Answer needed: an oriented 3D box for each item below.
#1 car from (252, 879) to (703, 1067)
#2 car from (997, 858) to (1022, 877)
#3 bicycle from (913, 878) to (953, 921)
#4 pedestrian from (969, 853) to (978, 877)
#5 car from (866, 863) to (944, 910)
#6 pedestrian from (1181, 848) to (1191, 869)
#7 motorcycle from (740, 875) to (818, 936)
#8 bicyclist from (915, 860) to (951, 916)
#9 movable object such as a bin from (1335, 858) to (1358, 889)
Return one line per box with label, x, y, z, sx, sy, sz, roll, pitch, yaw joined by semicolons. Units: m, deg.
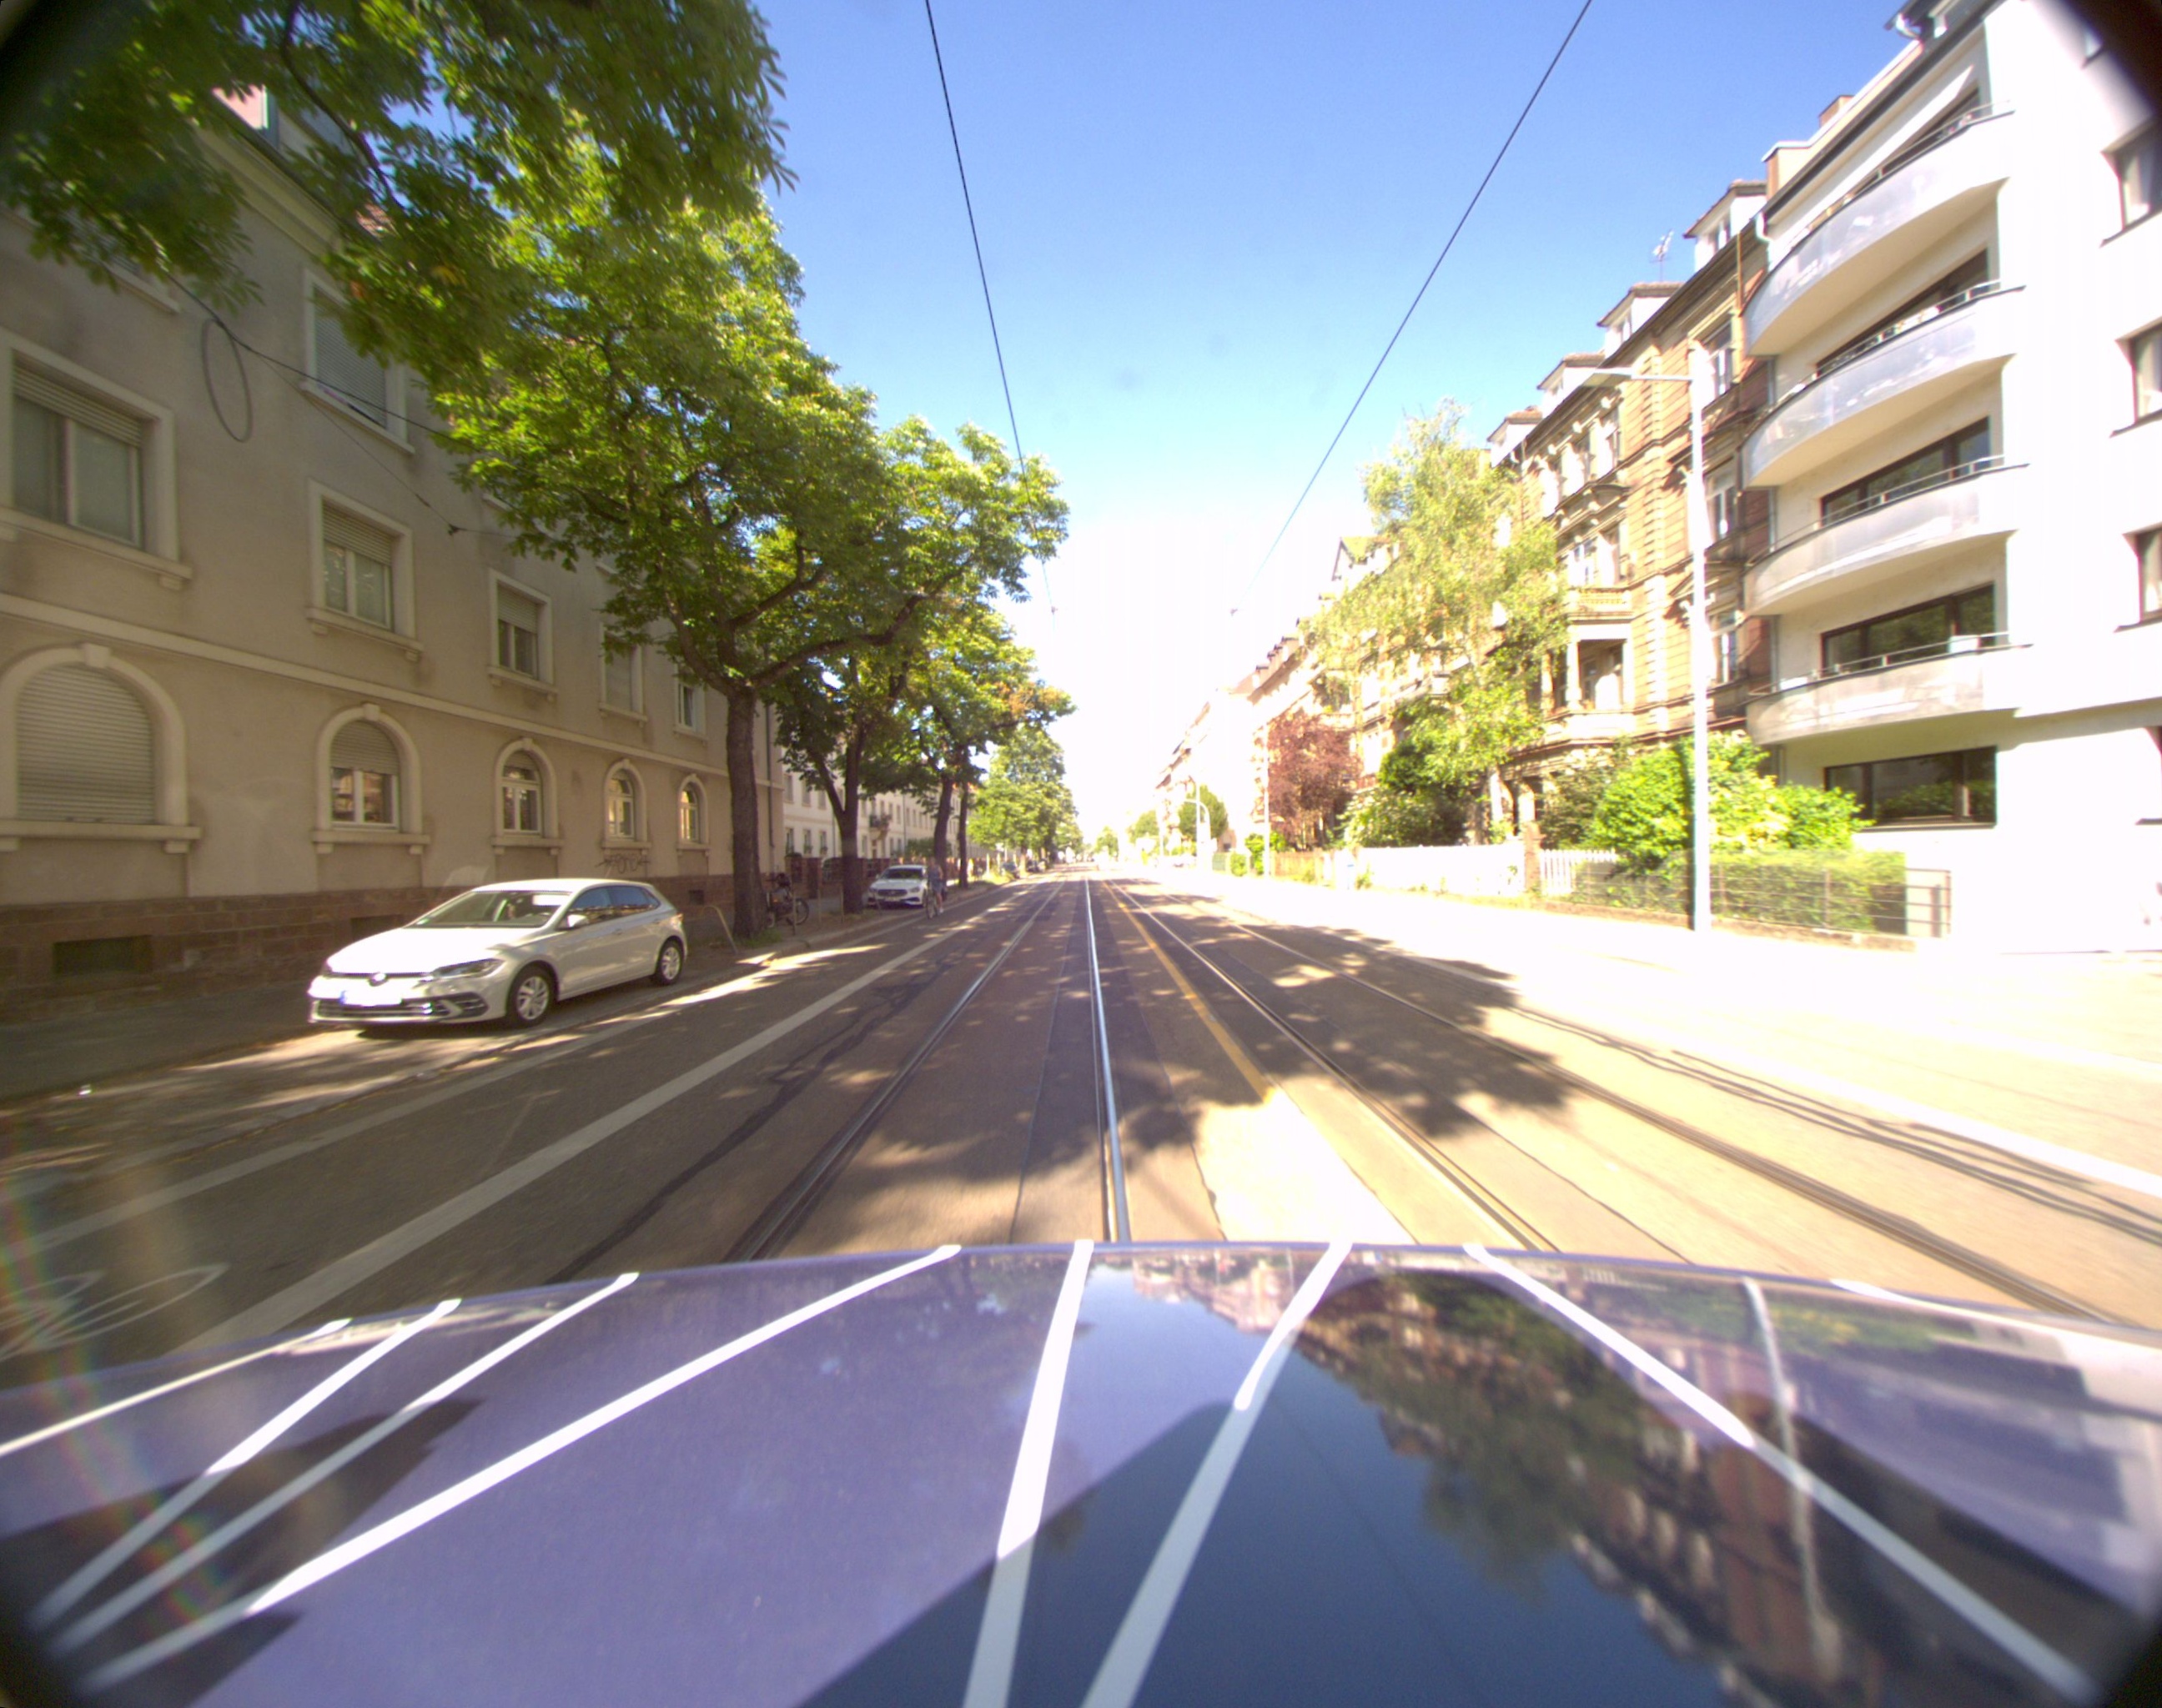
car;-6.233;1.092;8.638;1.705;1.463;4.214;0;0;1
car;-5.767;1.063;61.503;1.761;1.458;4.613;0;0;-2
bicycle;-4.161;1.261;21.504;0.776;1.080;2.058;-2;0;-2
pedestrian;-9.108;0.965;64.330;0.743;2.002;0.687;-2;1;-8
car;-6.127;1.075;27.044;1.824;1.475;4.748;0;0;-2
pedestrian;9.477;0.424;68.729;0.809;1.825;0.754;-1;1;9
motorcycle;-6.859;1.129;17.381;0.763;1.243;2.263;-1;0;3
bicyclist;-4.174;0.932;21.505;0.776;1.505;1.229;-2;0;-2
movable object such as a bin;10.148;0.742;29.043;0.590;1.169;0.665;-2;1;-4
